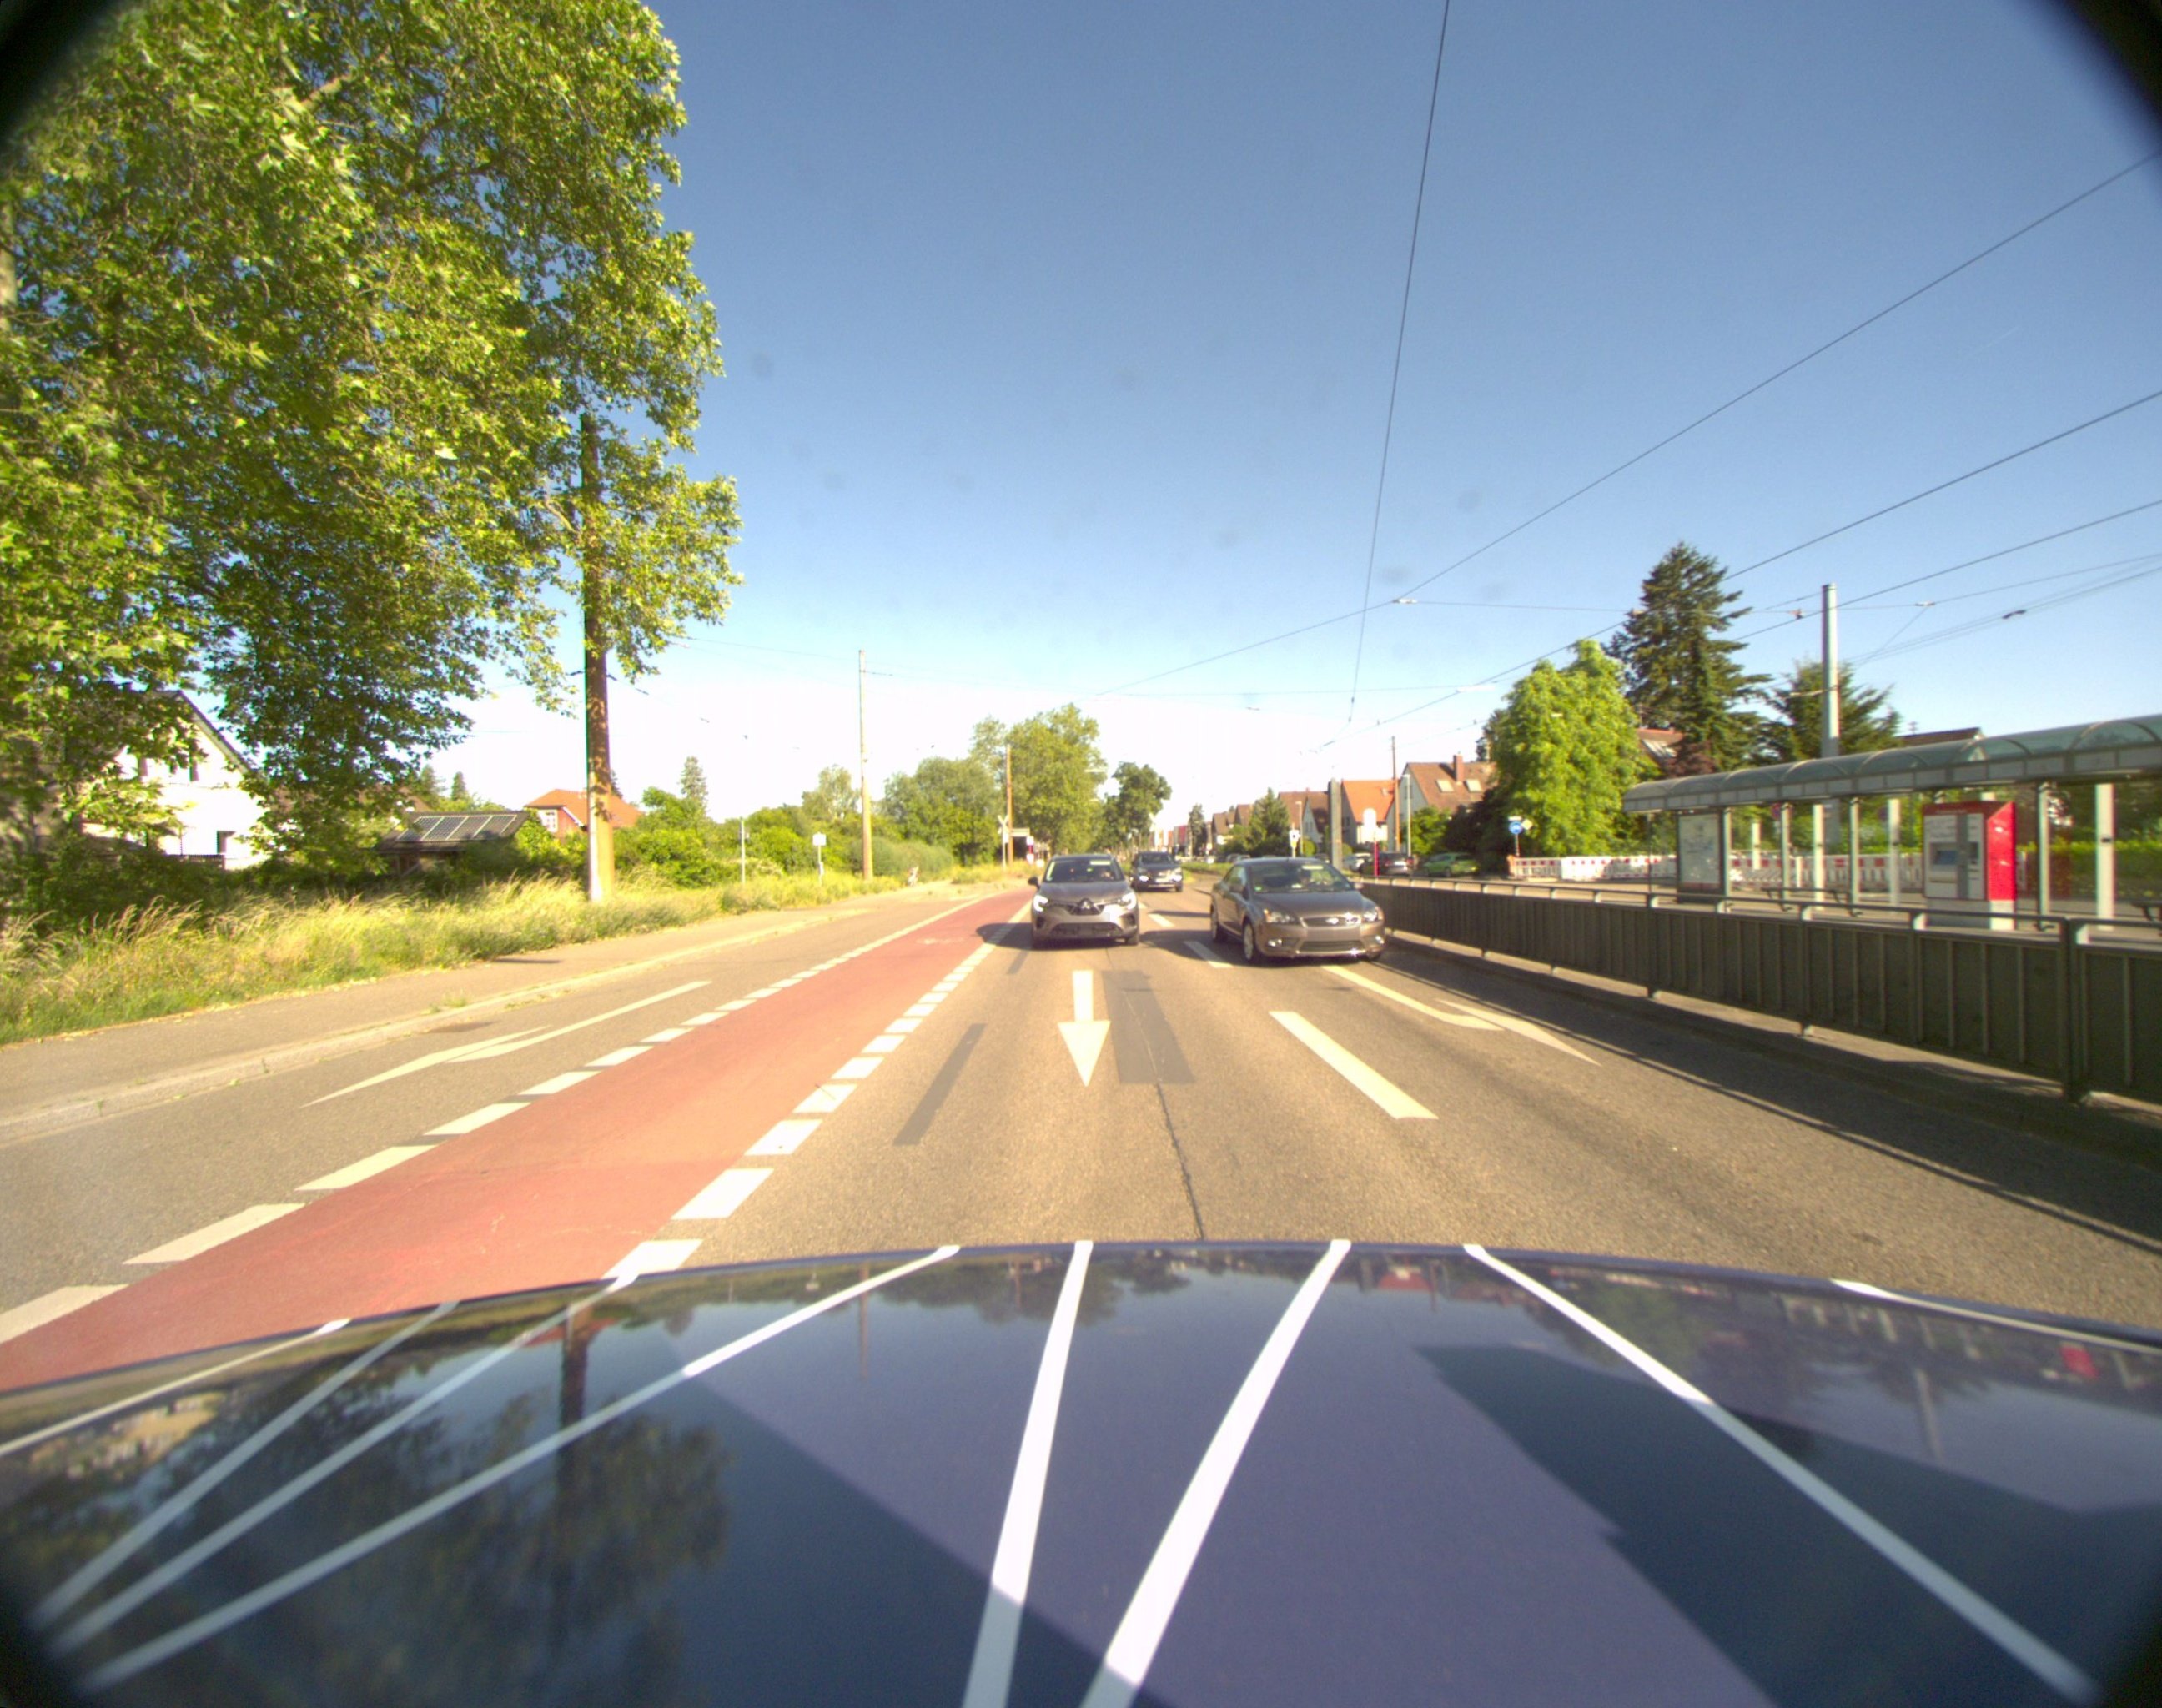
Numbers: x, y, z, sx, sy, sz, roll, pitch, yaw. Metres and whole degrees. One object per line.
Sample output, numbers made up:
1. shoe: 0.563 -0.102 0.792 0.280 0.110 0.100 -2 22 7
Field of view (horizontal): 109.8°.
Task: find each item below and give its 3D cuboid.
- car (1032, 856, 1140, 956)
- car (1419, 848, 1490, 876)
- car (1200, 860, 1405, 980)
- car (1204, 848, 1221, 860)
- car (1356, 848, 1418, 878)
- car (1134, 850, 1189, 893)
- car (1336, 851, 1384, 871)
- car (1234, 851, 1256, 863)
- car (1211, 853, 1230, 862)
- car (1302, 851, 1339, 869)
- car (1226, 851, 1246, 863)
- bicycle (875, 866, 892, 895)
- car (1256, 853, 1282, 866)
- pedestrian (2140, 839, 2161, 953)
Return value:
1. car: 0.064 0.823 13.773 1.673 1.529 3.586 -2 0 -1
2. car: 21.879 0.423 44.717 1.999 1.492 4.067 -3 1 -2
3. car: 3.088 0.832 11.590 1.780 1.441 4.333 -1 0 -1
4. car: 22.076 0.022 127.853 1.998 1.852 4.584 -2 0 1
5. car: 16.995 0.478 42.417 1.740 1.511 4.344 -1 0 0
6. car: 3.262 0.689 31.486 1.780 1.620 4.288 -1 0 0
7. car: 21.726 0.514 59.343 1.888 1.464 4.613 -3 1 -1
8. car: 22.064 0.435 102.250 1.888 1.463 4.838 -3 0 1
9. car: 21.800 0.496 119.006 1.998 1.333 4.982 -3 1 0
10. car: 21.834 0.546 69.428 1.912 1.457 4.440 -3 1 0
11. car: 21.805 0.368 107.304 1.888 1.552 4.537 -3 0 0
12. bicycle: -8.191 1.074 31.448 0.367 1.128 2.092 -1 0 -23
13. car: 21.728 0.595 88.158 1.998 1.363 4.310 -2 0 1
14. pedestrian: 14.224 0.534 9.317 1.063 1.444 1.007 -1 1 0
